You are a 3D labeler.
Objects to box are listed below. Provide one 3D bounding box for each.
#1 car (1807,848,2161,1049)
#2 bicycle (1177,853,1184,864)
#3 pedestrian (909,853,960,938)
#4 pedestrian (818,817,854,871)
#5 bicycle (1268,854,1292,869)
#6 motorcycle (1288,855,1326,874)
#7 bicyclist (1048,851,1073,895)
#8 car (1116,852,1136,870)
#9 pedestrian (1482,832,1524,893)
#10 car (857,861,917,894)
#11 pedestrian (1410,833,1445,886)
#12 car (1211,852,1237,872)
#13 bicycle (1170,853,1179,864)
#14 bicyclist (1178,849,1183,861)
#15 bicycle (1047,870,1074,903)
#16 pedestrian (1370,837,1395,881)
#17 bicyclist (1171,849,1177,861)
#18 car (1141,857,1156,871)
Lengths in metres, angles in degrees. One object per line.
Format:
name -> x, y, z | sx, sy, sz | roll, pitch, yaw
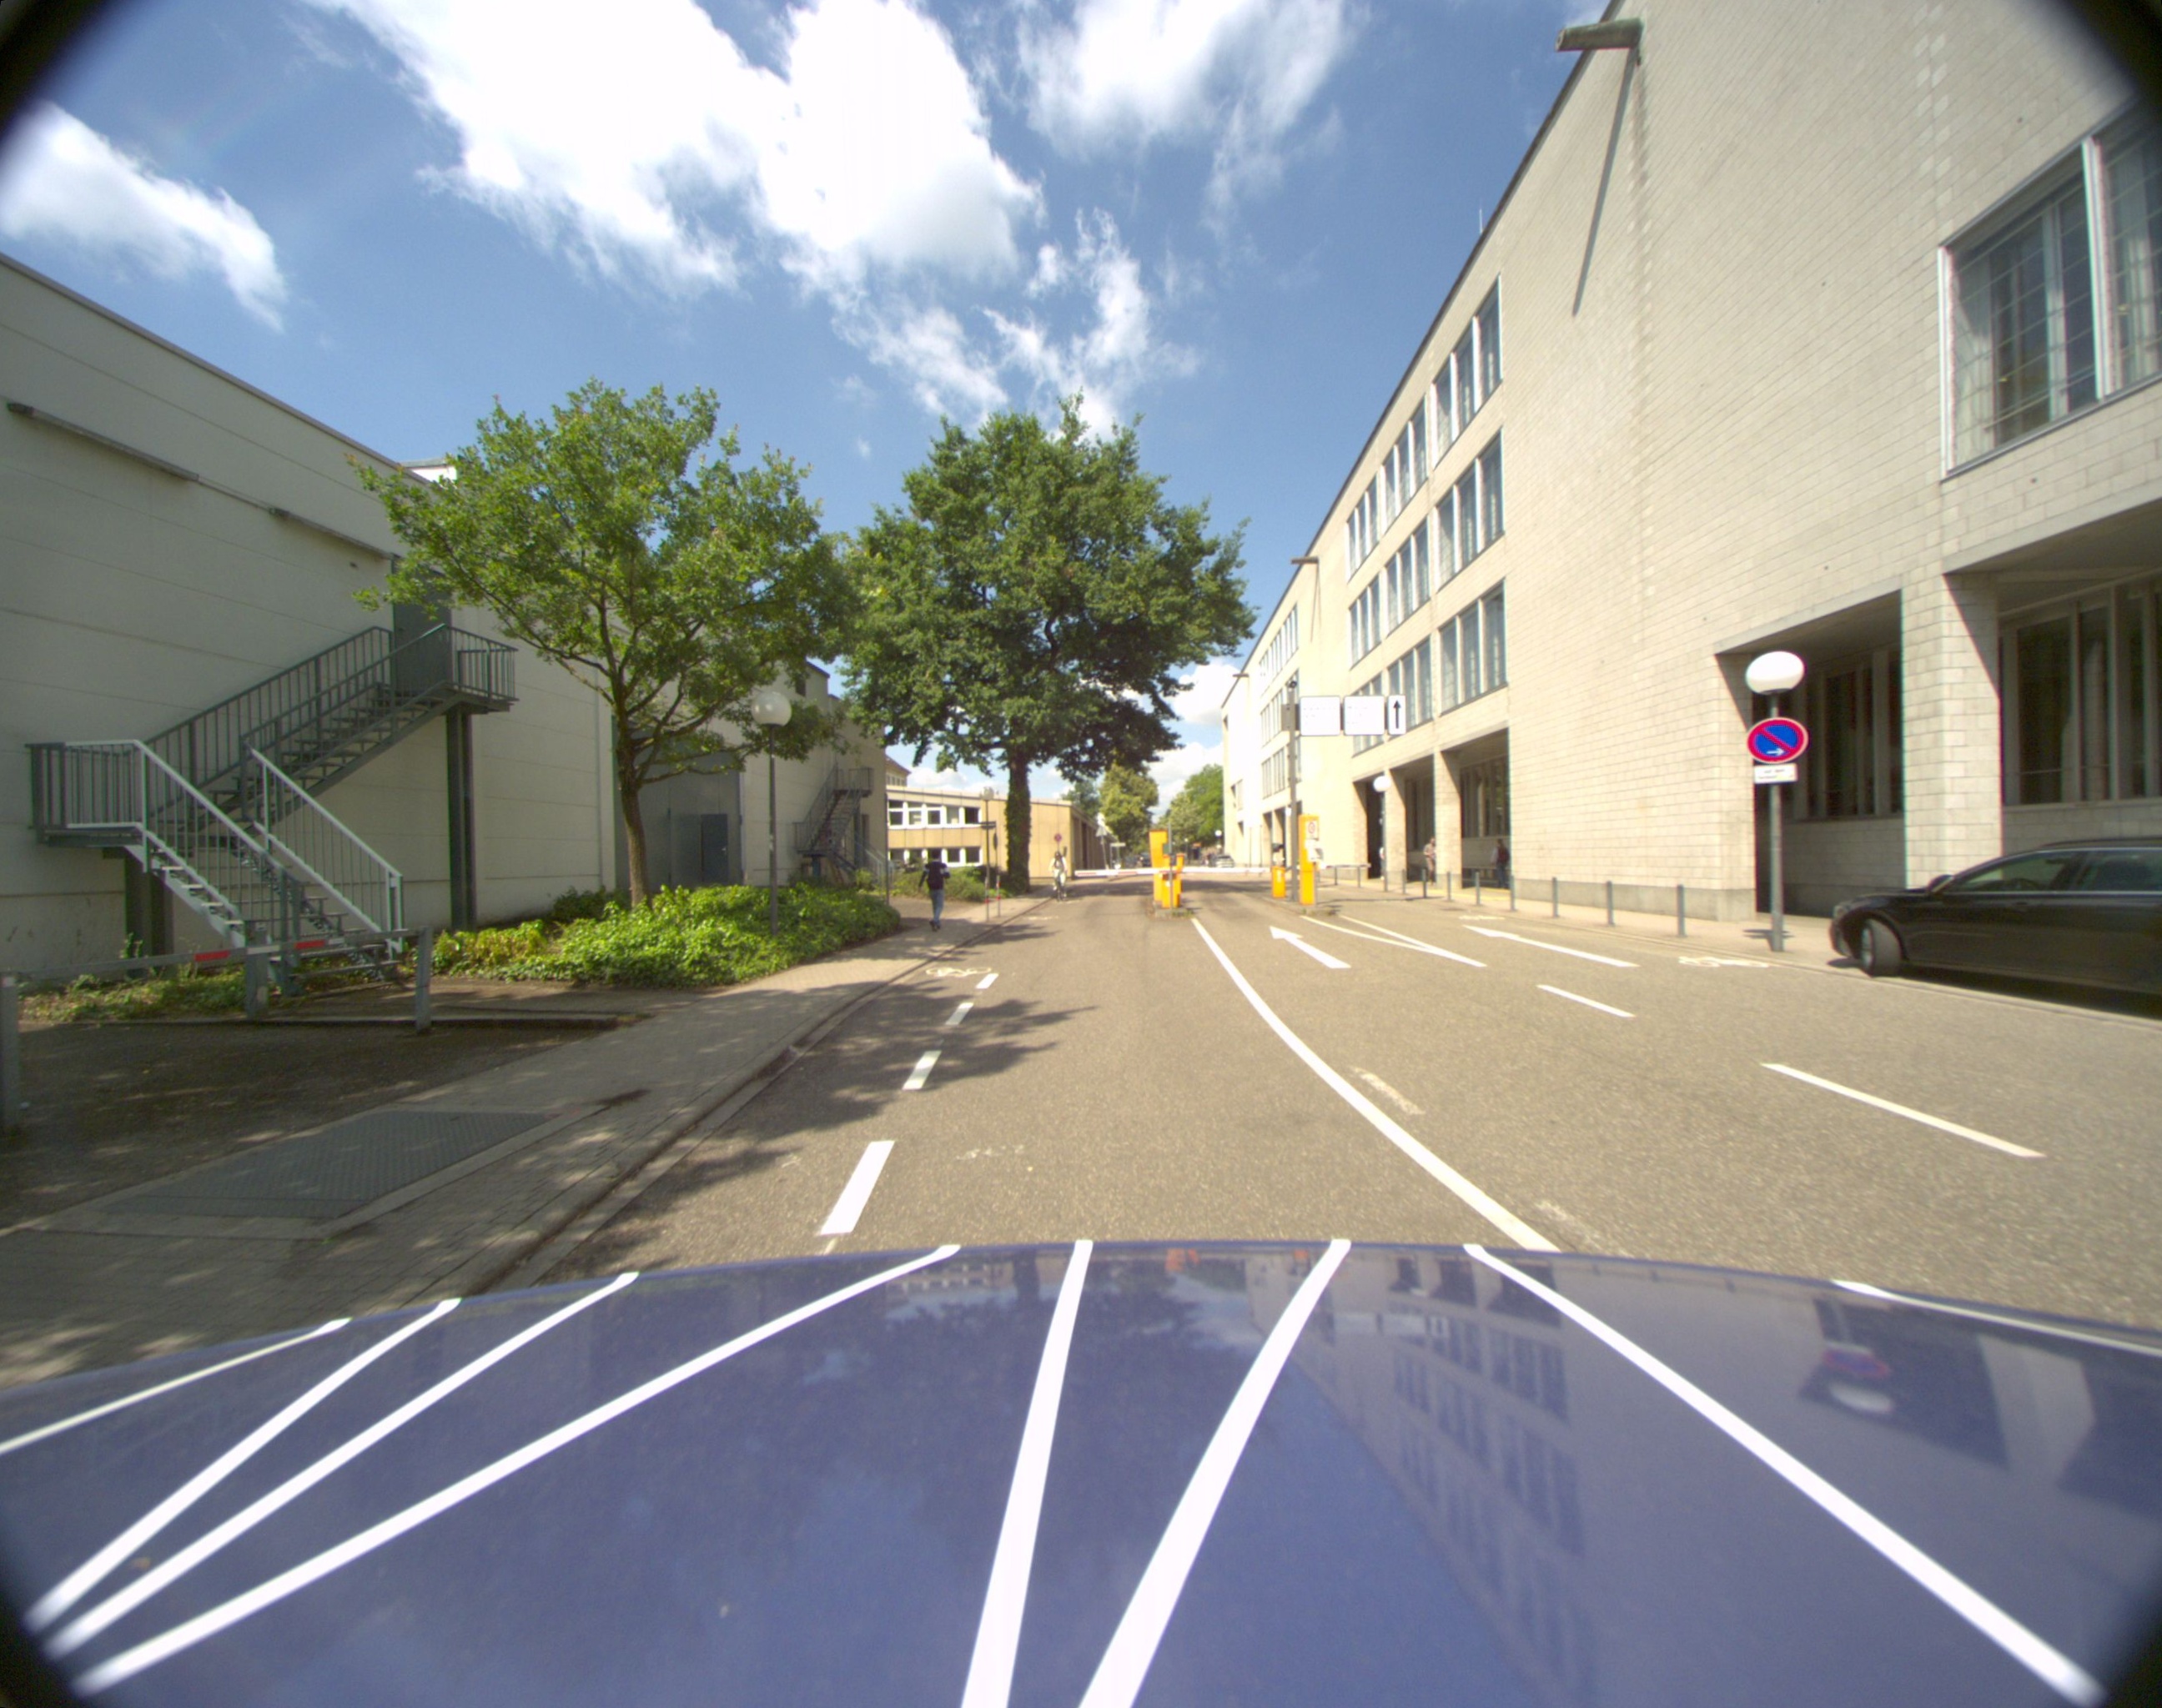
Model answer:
car -> 9.265, 0.722, 6.460 | 1.863, 1.458, 4.720 | -3, 0, 4
bicycle -> 14.747, 0.653, 112.705 | 0.639, 1.485, 1.935 | -2, 1, -3
pedestrian -> -3.001, 0.822, 15.699 | 0.741, 1.665, 1.256 | -1, 1, 1
pedestrian -> -9.226, -0.378, 28.682 | 0.928, 2.002, 0.950 | -1, 1, 8
bicycle -> 15.097, 0.533, 57.650 | 1.643, 1.080, 0.608 | -2, 1, -1
motorcycle -> 14.444, 0.678, 48.508 | 2.172, 1.131, 0.774 | -1, 0, -6
bicyclist -> -0.691, 0.638, 25.811 | 0.780, 1.478, 0.696 | -1, 0, 3
car -> 4.070, 0.616, 68.920 | 1.760, 1.559, 3.818 | 0, 0, 4
pedestrian -> 14.148, 0.274, 25.495 | 0.850, 2.002, 1.066 | -1, 1, 2
car -> -9.701, 1.133, 38.295 | 1.670, 1.468, 4.183 | -1, 0, 4
pedestrian -> 13.426, 0.219, 29.471 | 0.850, 2.002, 1.066 | -1, 1, 2
car -> 12.606, 0.658, 67.013 | 1.730, 1.526, 4.406 | -3, 1, 5
bicycle -> 13.754, 0.673, 112.099 | 0.798, 1.485, 2.061 | -2, 1, -6
bicyclist -> 14.739, 0.143, 112.707 | 0.609, 1.754, 0.696 | -2, 1, -3
bicycle -> -0.675, 1.091, 25.871 | 0.781, 1.042, 1.913 | -1, 0, 2
pedestrian -> 14.181, 0.236, 35.792 | 0.858, 2.002, 0.881 | -2, 1, 7
bicyclist -> 13.726, 0.147, 112.032 | 0.762, 1.766, 0.733 | -2, 1, -6
car -> 9.664, 1.426, 108.960 | 1.998, 1.805, 4.002 | -1, 0, 5
